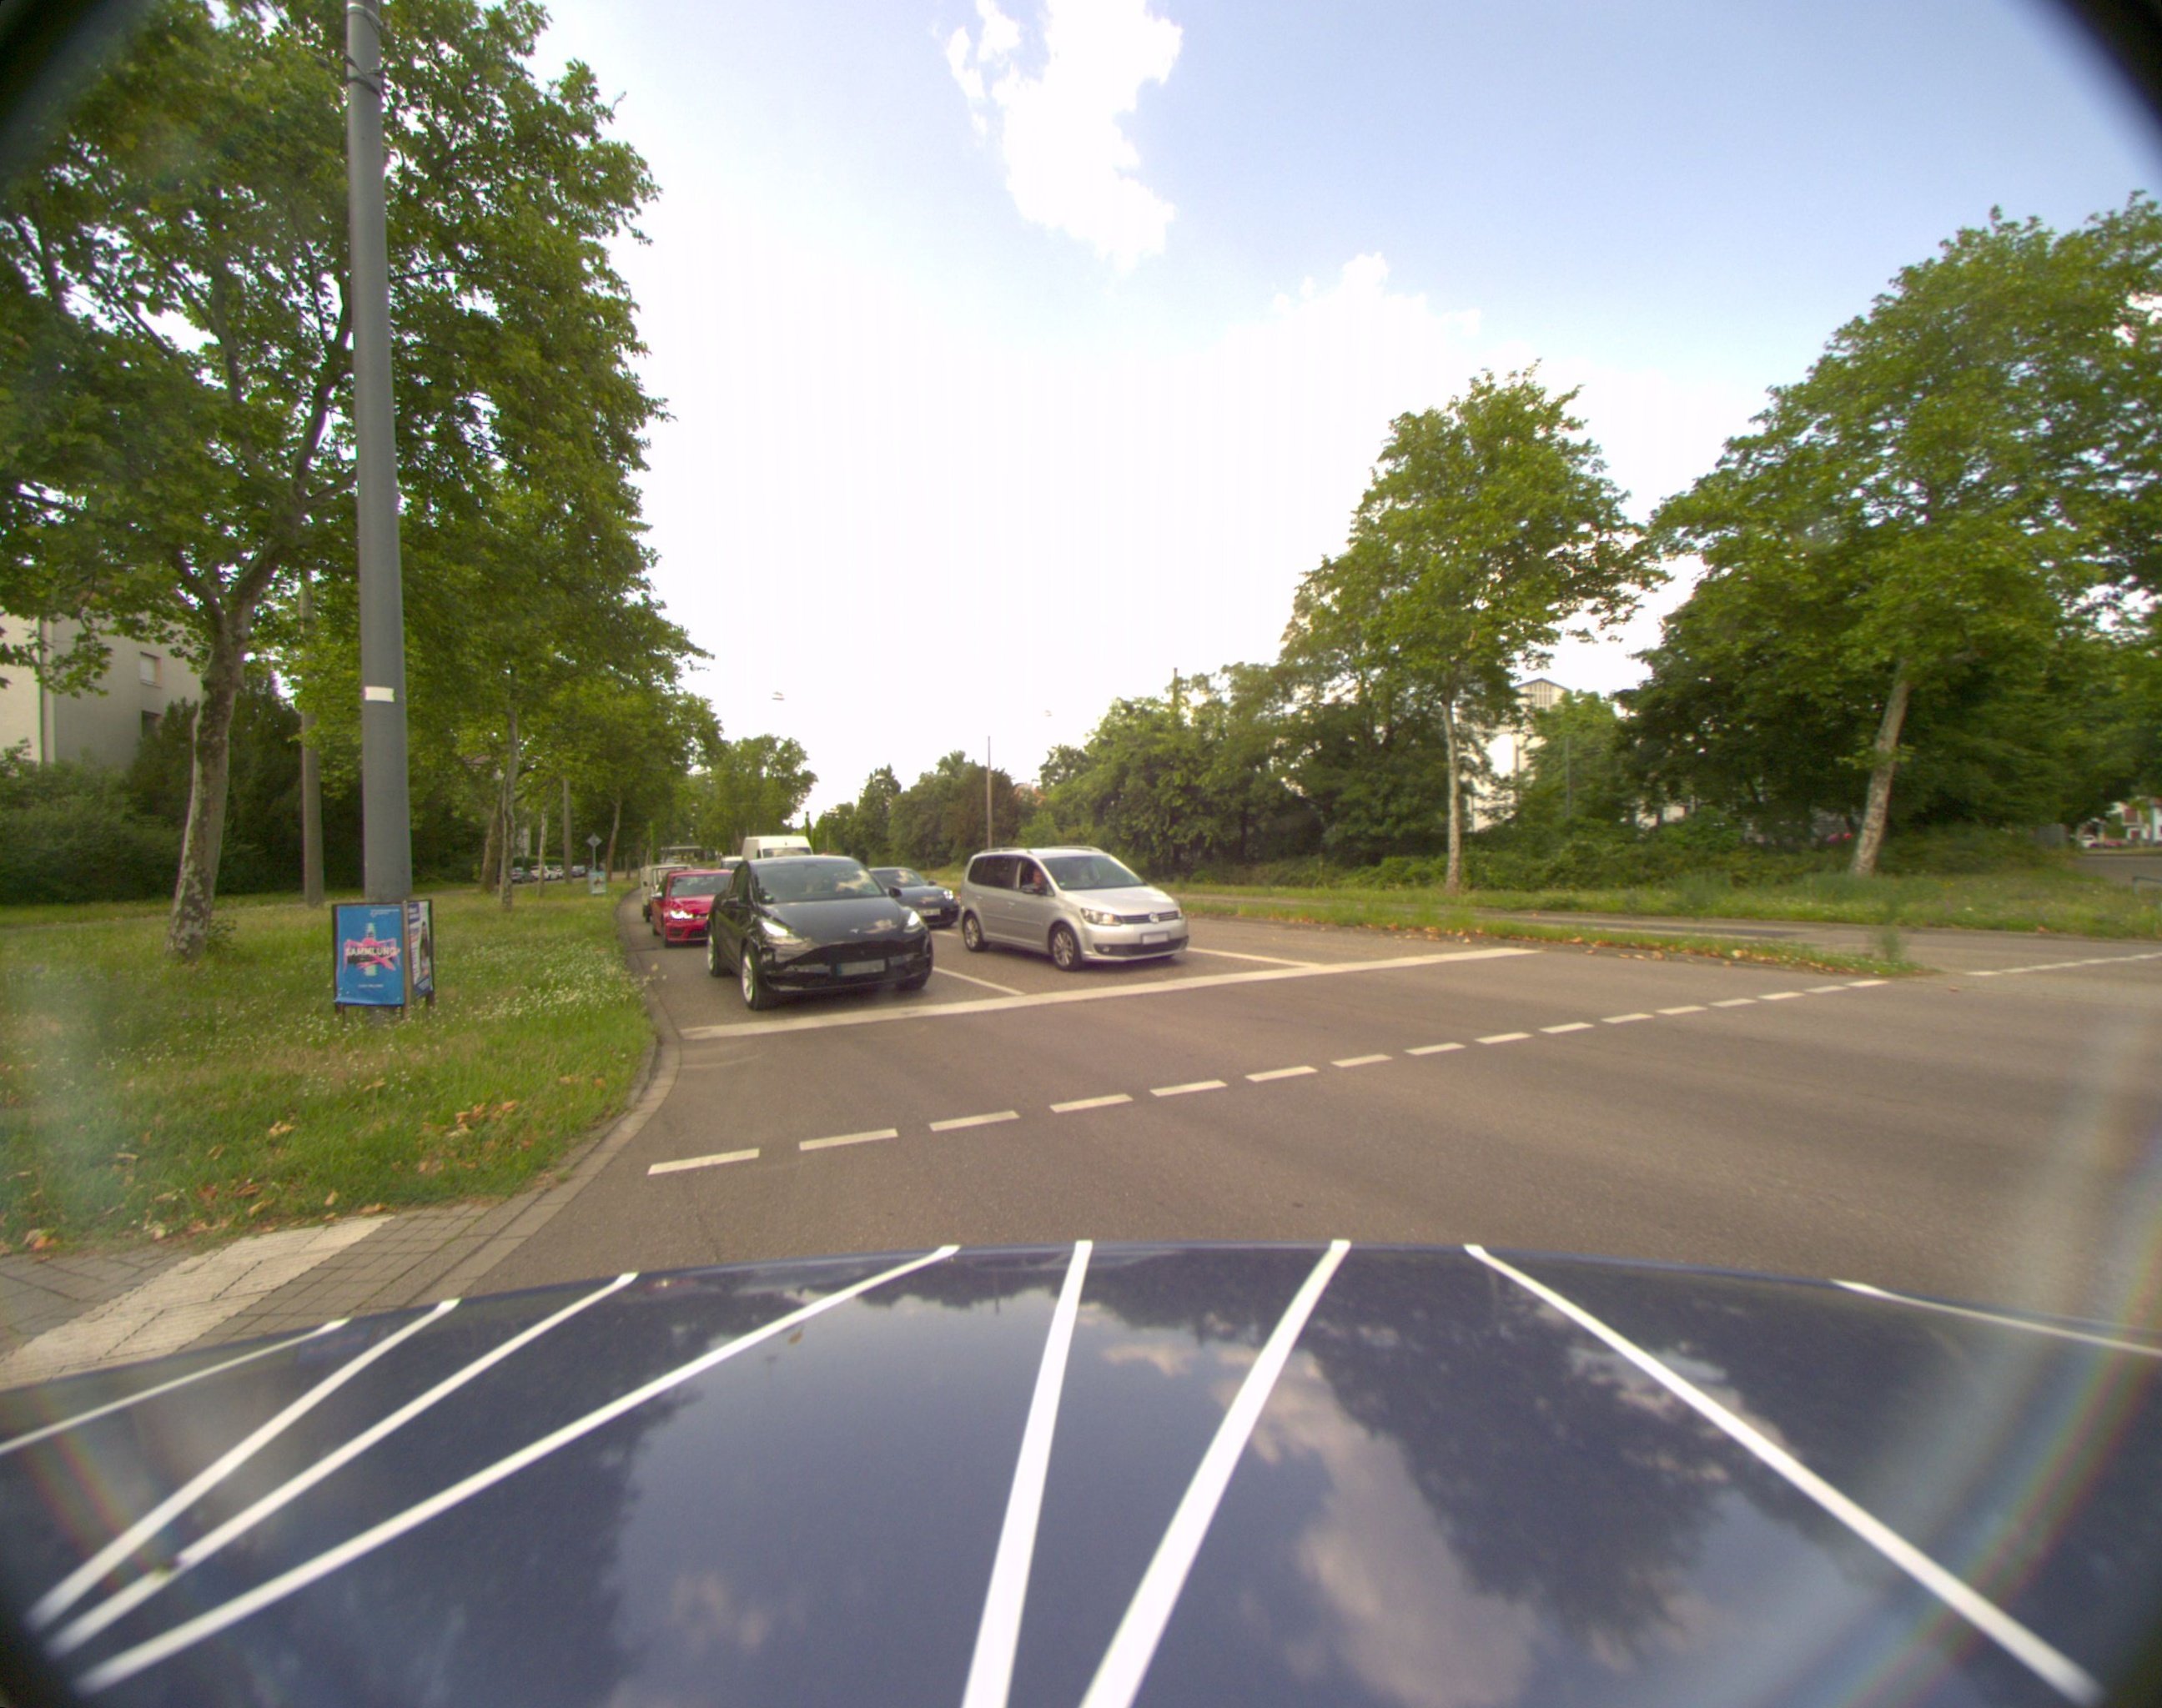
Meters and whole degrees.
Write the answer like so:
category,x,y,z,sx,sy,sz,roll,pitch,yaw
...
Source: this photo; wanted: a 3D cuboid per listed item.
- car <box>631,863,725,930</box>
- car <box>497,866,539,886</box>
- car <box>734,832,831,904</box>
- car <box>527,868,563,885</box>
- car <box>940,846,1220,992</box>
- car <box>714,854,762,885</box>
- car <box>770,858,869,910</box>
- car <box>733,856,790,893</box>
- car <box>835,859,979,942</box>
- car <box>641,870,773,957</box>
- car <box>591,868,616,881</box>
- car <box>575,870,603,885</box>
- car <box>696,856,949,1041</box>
category,x,y,z,sx,sy,sz,roll,pitch,yaw
car,-11.435,1.089,21.394,1.805,1.561,4.490,-3,2,-34
car,-48.351,1.878,65.306,1.778,1.586,3.652,-2,-1,-18
car,-11.981,0.481,30.190,2.231,2.516,5.918,-3,2,-34
car,-51.920,2.211,73.704,1.778,1.586,3.652,-2,-1,-18
car,-0.254,0.769,11.296,1.934,1.643,4.490,-3,2,-34
car,-19.929,0.860,44.060,1.768,1.637,4.332,-1,1,-34
car,-8.176,0.851,23.503,1.767,1.367,4.332,-3,2,-34
car,-15.708,0.951,37.247,1.847,1.609,4.145,-3,1,-32
car,-3.961,0.915,16.813,1.807,1.499,3.990,-4,2,-32
car,-7.908,1.103,15.829,1.805,1.383,4.490,-3,2,-34
car,-59.983,2.626,95.447,1.778,1.586,3.652,-2,-1,-18
car,-57.052,2.748,88.123,1.778,1.586,3.652,-2,-1,-18
car,-3.476,0.892,9.538,1.935,1.643,4.568,-3,2,-32
